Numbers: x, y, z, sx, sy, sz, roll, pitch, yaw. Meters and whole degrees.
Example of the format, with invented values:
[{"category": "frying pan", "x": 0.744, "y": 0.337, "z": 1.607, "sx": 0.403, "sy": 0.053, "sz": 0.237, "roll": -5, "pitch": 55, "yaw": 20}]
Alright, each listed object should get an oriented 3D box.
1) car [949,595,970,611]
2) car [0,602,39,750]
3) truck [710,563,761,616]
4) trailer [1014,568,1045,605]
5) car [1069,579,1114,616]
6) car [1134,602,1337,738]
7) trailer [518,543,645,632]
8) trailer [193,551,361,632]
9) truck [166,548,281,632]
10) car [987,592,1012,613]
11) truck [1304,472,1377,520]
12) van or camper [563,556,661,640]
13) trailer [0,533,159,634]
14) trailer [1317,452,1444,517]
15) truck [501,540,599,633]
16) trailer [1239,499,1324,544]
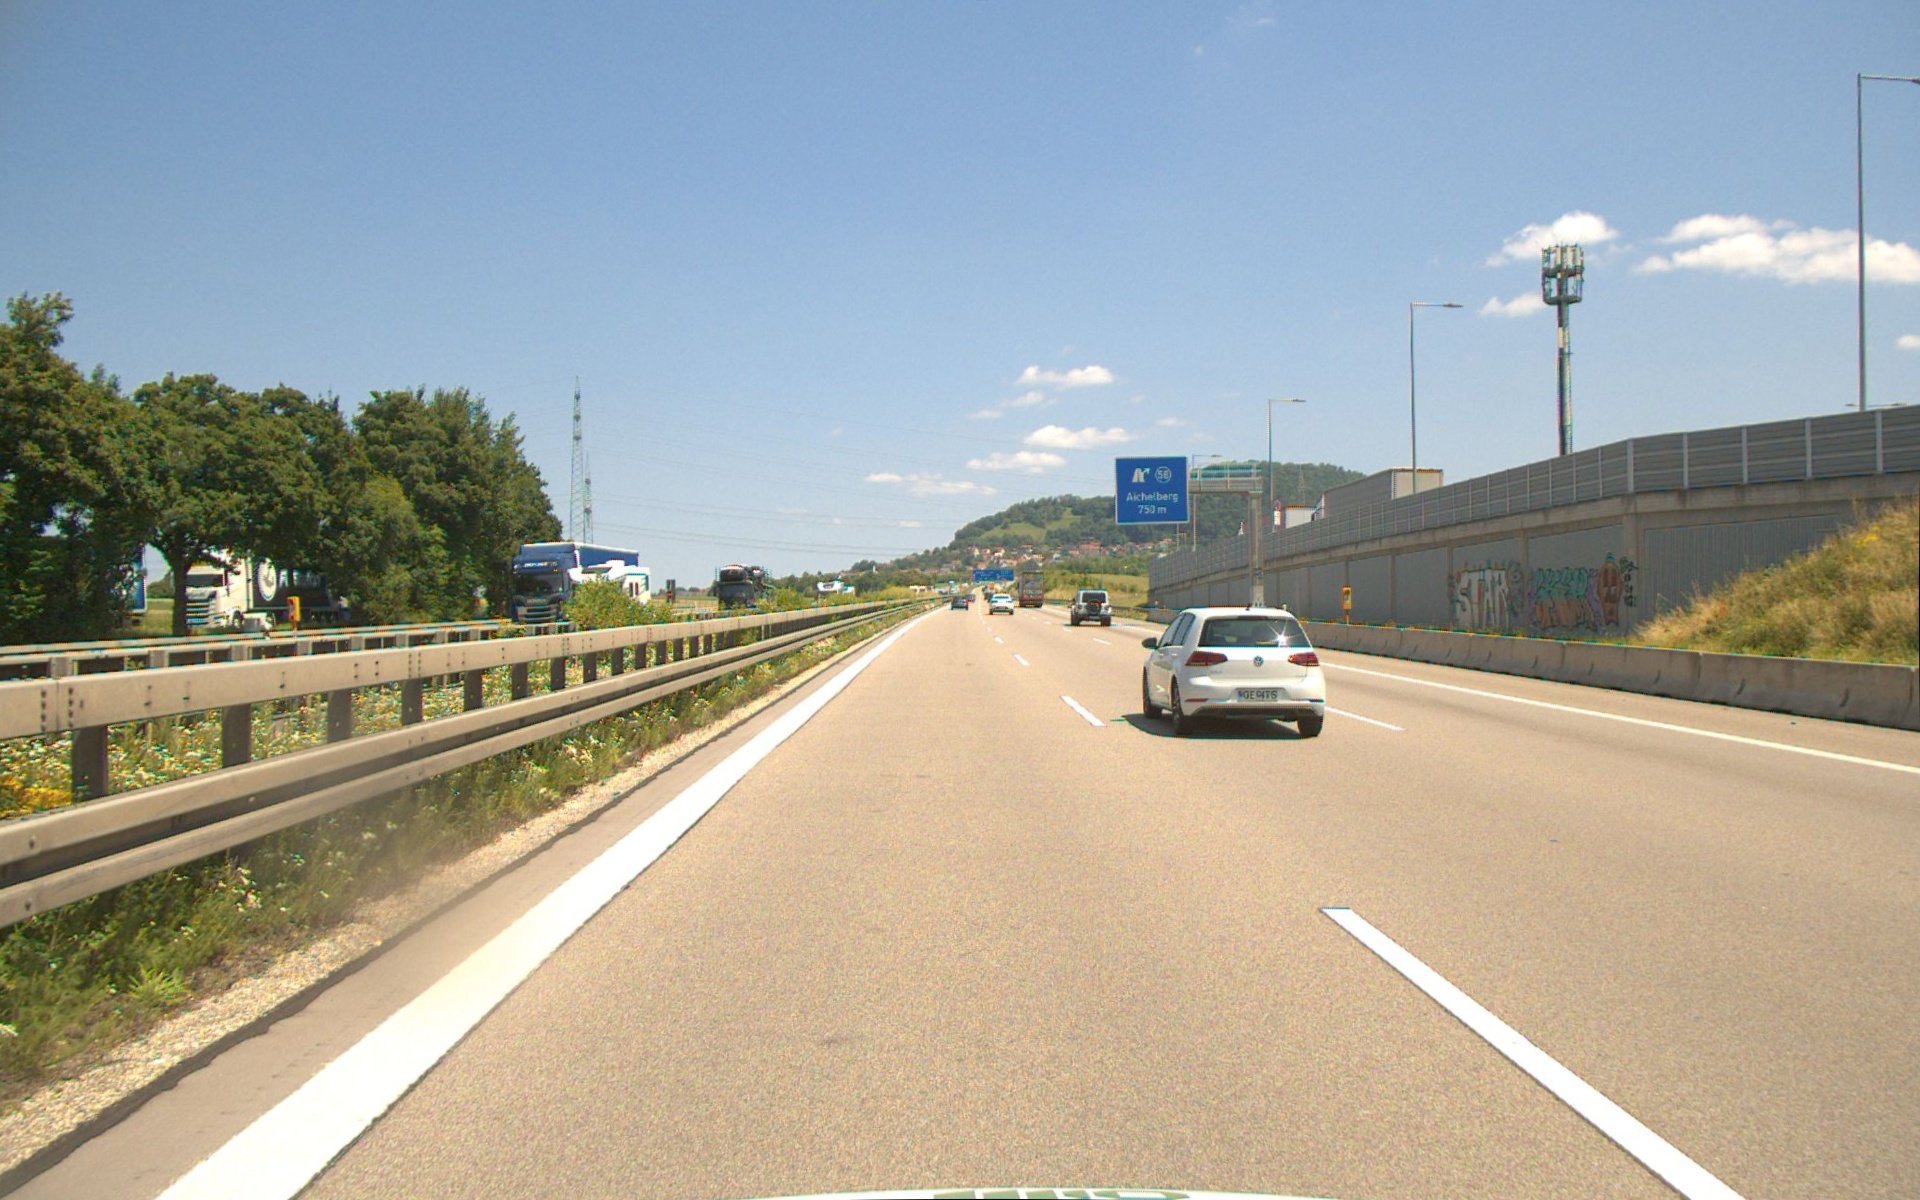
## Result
[{"category": "car", "x": -0.046, "y": 0.290, "z": 159.949, "sx": 1.952, "sy": 1.413, "sz": 4.000, "roll": 1, "pitch": 0, "yaw": 1}, {"category": "car", "x": -9.522, "y": 0.663, "z": 13.510, "sx": 1.763, "sy": 1.333, "sz": 3.999, "roll": 1, "pitch": 0, "yaw": -1}, {"category": "truck", "x": -17.214, "y": -0.751, "z": 127.421, "sx": 2.621, "sy": 3.886, "sz": 9.152, "roll": 1, "pitch": 0, "yaw": 0}, {"category": "trailer", "x": 8.282, "y": -1.548, "z": 197.611, "sx": 2.670, "sy": 4.227, "sz": 11.802, "roll": 1, "pitch": 0, "yaw": -2}, {"category": "car", "x": 6.920, "y": -0.133, "z": 87.548, "sx": 1.993, "sy": 1.836, "sz": 4.250, "roll": -2, "pitch": 0, "yaw": 0}, {"category": "car", "x": 3.307, "y": 0.779, "z": 20.705, "sx": 1.739, "sy": 1.458, "sz": 4.691, "roll": 1, "pitch": 0, "yaw": 0}, {"category": "trailer", "x": -17.804, "y": -0.494, "z": 78.962, "sx": 2.784, "sy": 3.799, "sz": 14.528, "roll": 1, "pitch": 0, "yaw": -1}, {"category": "trailer", "x": -35.287, "y": -0.360, "z": 86.333, "sx": 2.711, "sy": 3.845, "sz": 14.410, "roll": 1, "pitch": 0, "yaw": 0}, {"category": "truck", "x": -35.285, "y": -0.443, "z": 79.479, "sx": 2.739, "sy": 3.849, "sz": 6.098, "roll": 1, "pitch": 0, "yaw": 0}, {"category": "car", "x": 3.072, "y": 0.207, "z": 129.964, "sx": 1.875, "sy": 1.608, "sz": 5.231, "roll": 1, "pitch": 0, "yaw": 0}, {"category": "truck", "x": 21.699, "y": -5.893, "z": 94.582, "sx": 2.668, "sy": 2.269, "sz": 6.035, "roll": 1, "pitch": 0, "yaw": -1}, {"category": "van or camper", "x": -13.380, "y": -0.076, "z": 64.038, "sx": 2.224, "sy": 3.021, "sz": 6.952, "roll": -2, "pitch": 0, "yaw": 0}, {"category": "trailer", "x": -35.119, "y": -0.599, "z": 65.724, "sx": 2.494, "sy": 3.726, "sz": 8.710, "roll": 1, "pitch": 0, "yaw": -2}, {"category": "trailer", "x": 21.874, "y": -5.949, "z": 87.143, "sx": 2.664, "sy": 2.263, "sz": 14.523, "roll": 1, "pitch": 0, "yaw": -1}, {"category": "truck", "x": -17.724, "y": -0.542, "z": 71.859, "sx": 2.790, "sy": 3.810, "sz": 5.692, "roll": 1, "pitch": 0, "yaw": -1}, {"category": "trailer", "x": 21.493, "y": -5.174, "z": 111.498, "sx": 2.664, "sy": 2.263, "sz": 14.016, "roll": 1, "pitch": 0, "yaw": -1}]
